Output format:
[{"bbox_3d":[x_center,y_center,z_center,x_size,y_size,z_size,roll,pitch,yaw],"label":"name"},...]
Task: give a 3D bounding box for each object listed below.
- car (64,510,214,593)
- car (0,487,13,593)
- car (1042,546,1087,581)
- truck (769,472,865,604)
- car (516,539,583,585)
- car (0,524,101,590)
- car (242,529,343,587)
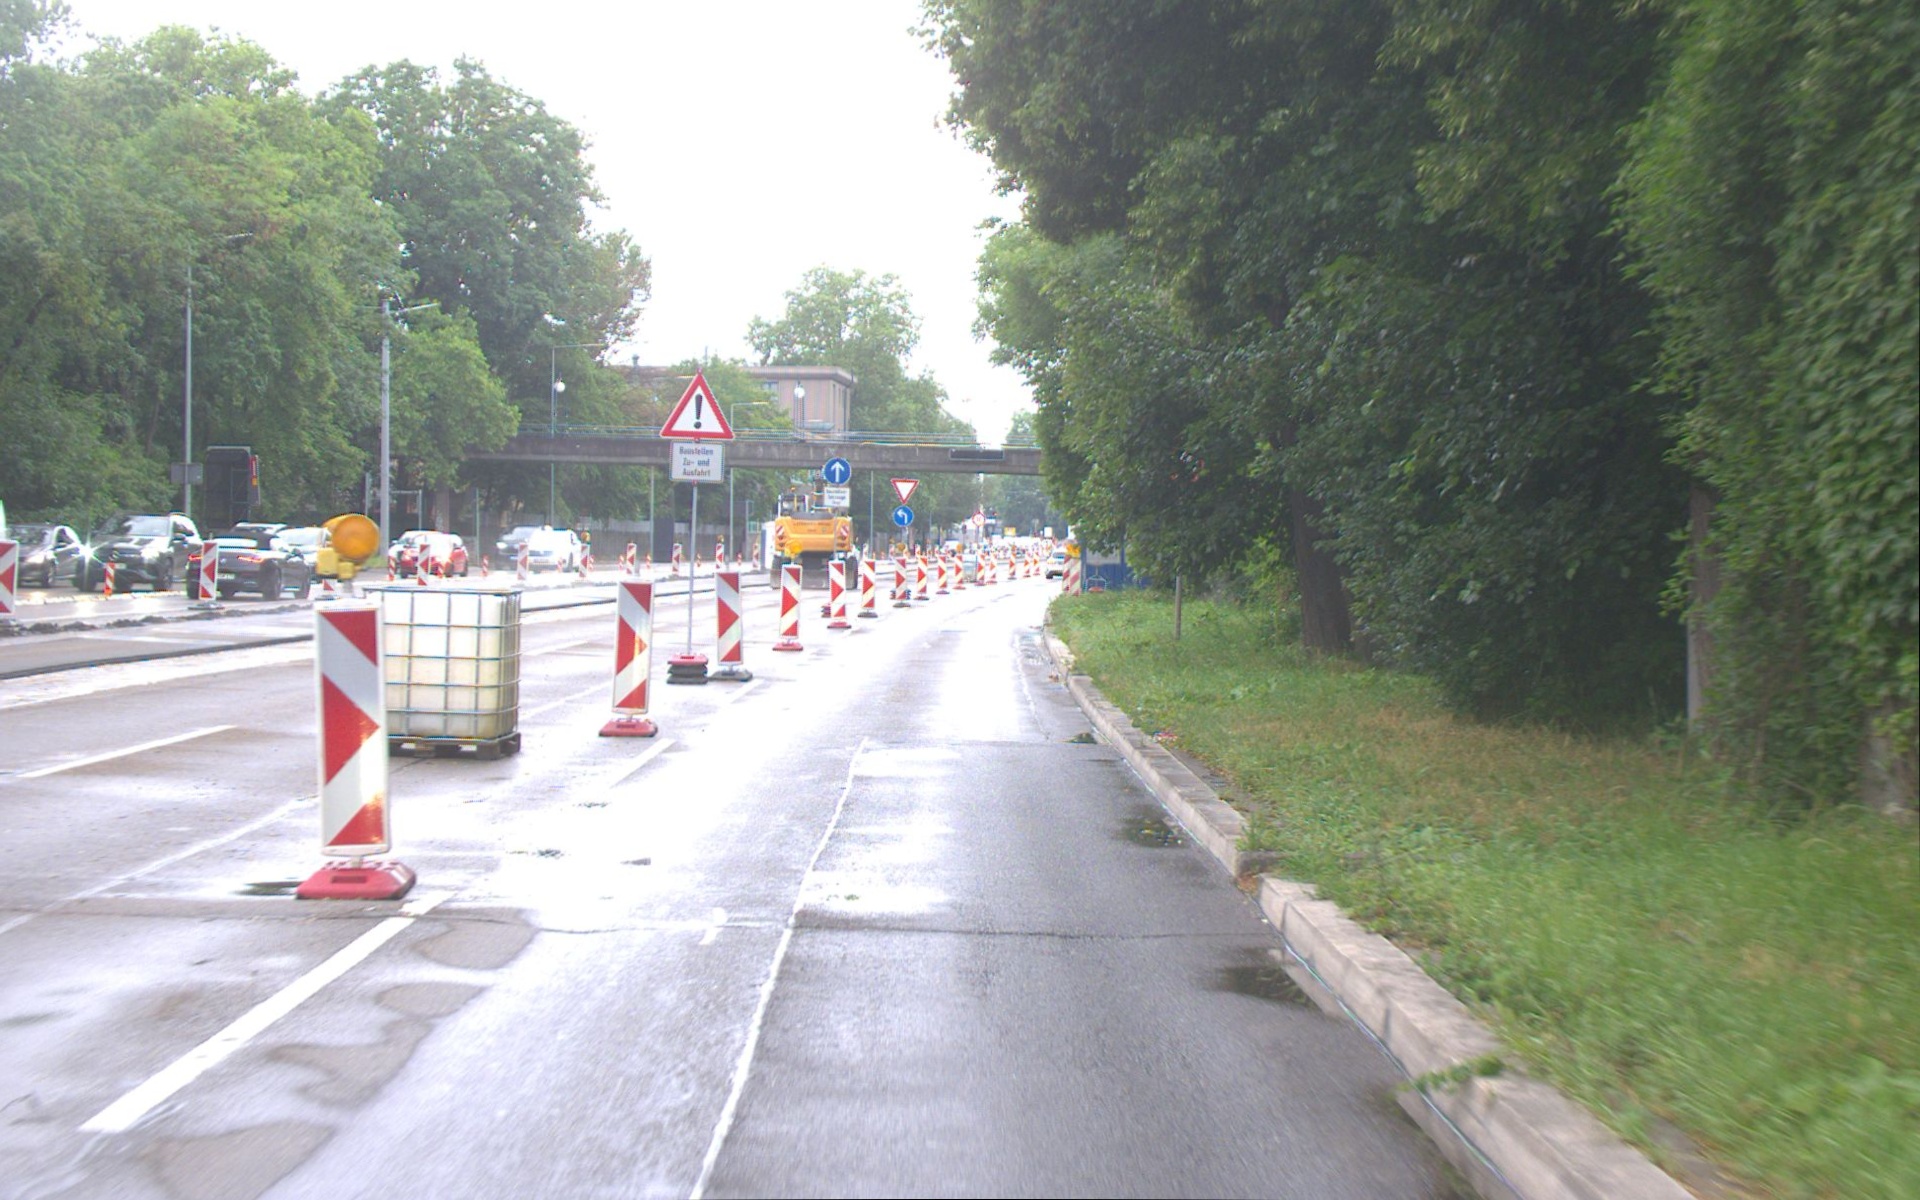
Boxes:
[{"bbox_3d":[-18.281,-1.072,76.798,2.021,1.719,5.012,2,1,1],"label":"car"},{"bbox_3d":[-18.629,-1.121,61.635,1.993,1.965,4.903,2,1,-2],"label":"car"},{"bbox_3d":[5.075,-1.760,166.529,1.994,1.634,3.999,1,0,4],"label":"car"},{"bbox_3d":[-4.886,-2.104,119.062,2.897,4.244,10.756,2,1,-1],"label":"truck"},{"bbox_3d":[-15.811,-1.455,132.548,1.890,1.655,4.893,2,1,1],"label":"car"},{"bbox_3d":[-20.918,-0.986,78.161,1.645,1.415,4.000,2,1,1],"label":"car"},{"bbox_3d":[-17.996,-1.137,92.847,1.776,1.482,4.197,2,1,1],"label":"car"}]
